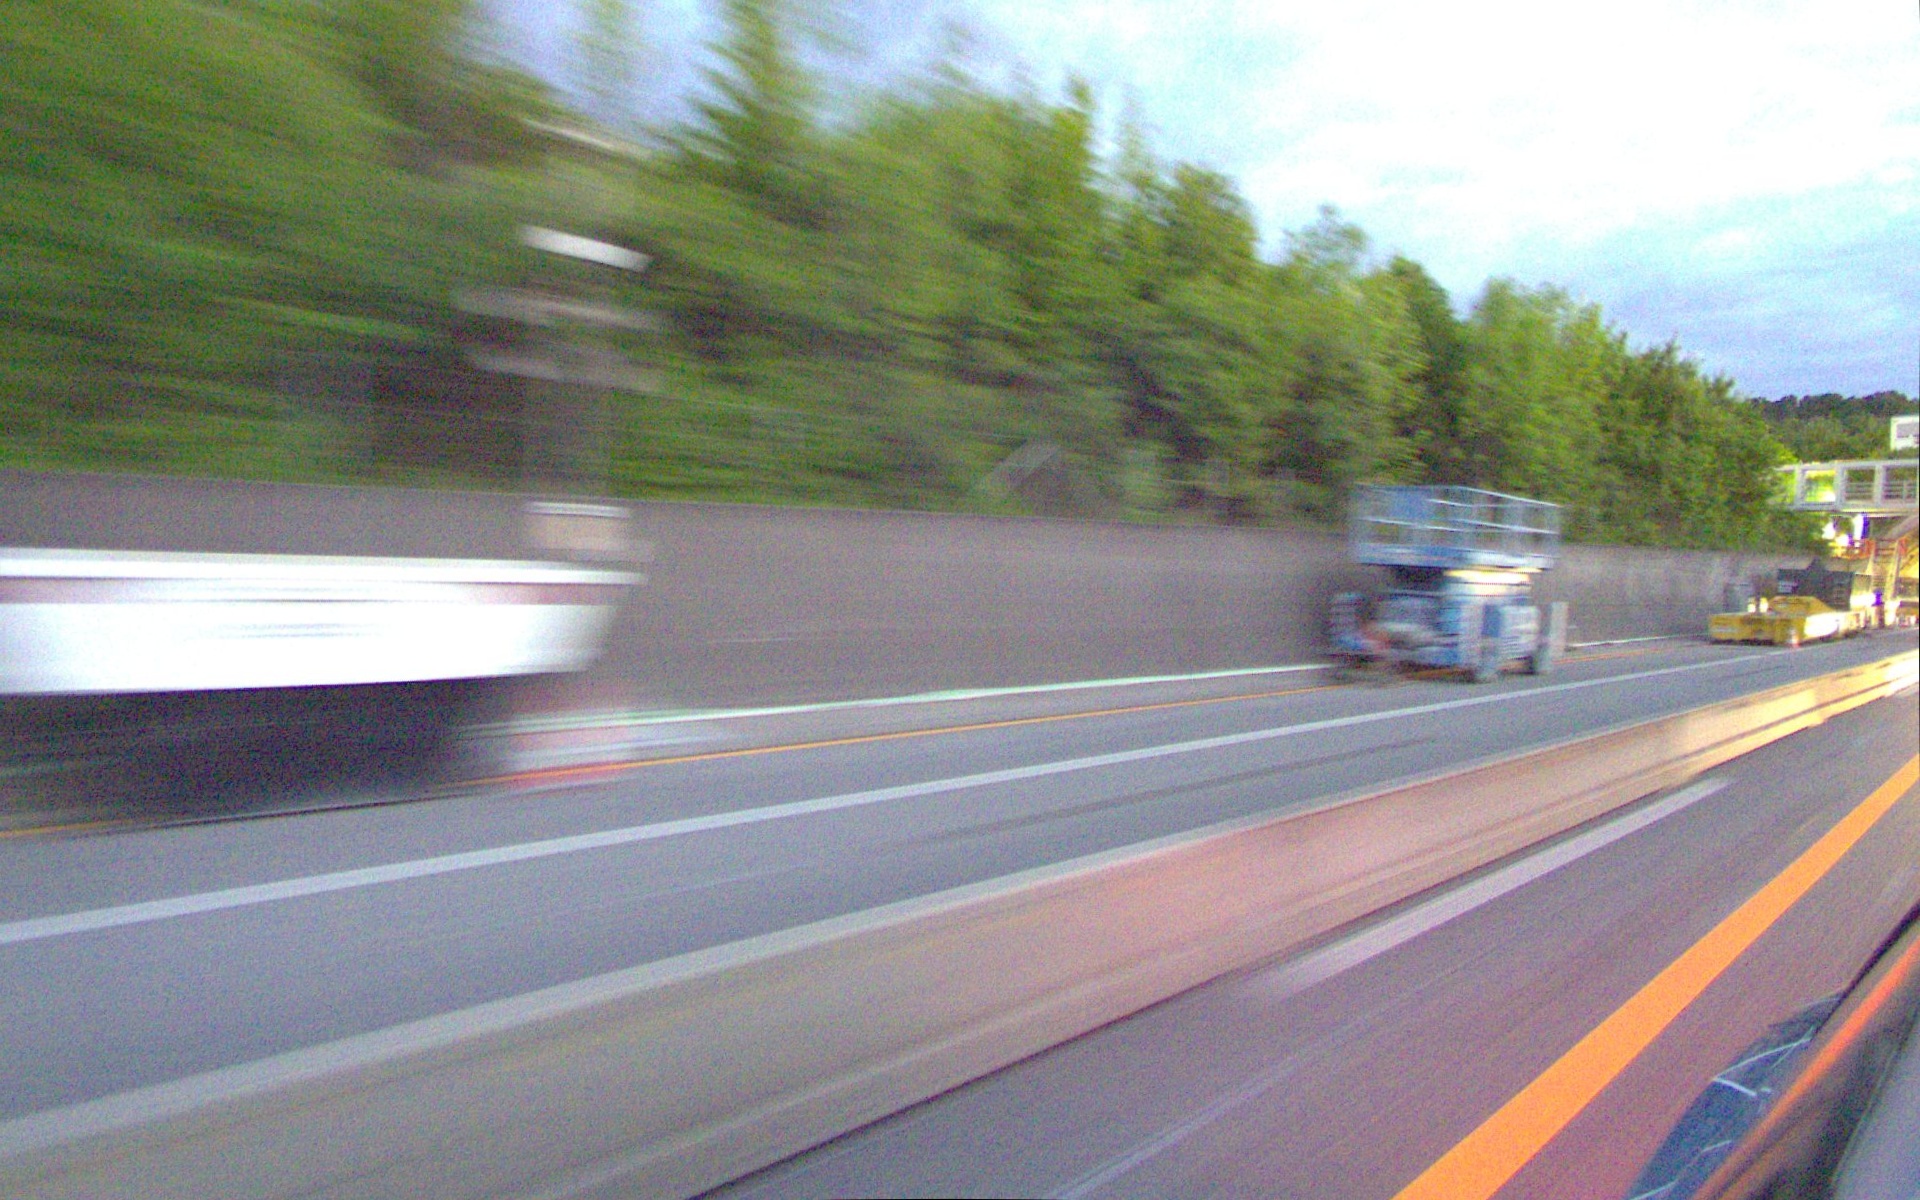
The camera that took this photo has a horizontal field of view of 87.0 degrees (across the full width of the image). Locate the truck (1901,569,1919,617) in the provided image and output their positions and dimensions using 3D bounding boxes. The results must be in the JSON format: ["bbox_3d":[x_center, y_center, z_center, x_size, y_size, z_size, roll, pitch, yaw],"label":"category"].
[{"bbox_3d":[70.926,-0.528,73.581,8.207,3.327,2.823,-1,0,-41],"label":"truck"}]

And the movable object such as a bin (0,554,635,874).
[{"bbox_3d":[-4.531,0.532,6.828,4.013,1.621,1.998,-1,3,-40],"label":"movable object such as a bin"}]

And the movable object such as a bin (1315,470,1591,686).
[{"bbox_3d":[9.150,-0.415,18.549,5.482,3.359,2.569,-1,2,-41],"label":"movable object such as a bin"}]

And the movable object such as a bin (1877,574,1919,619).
[{"bbox_3d":[63.187,-0.278,67.044,7.075,2.863,2.973,-1,0,-43],"label":"movable object such as a bin"}]
